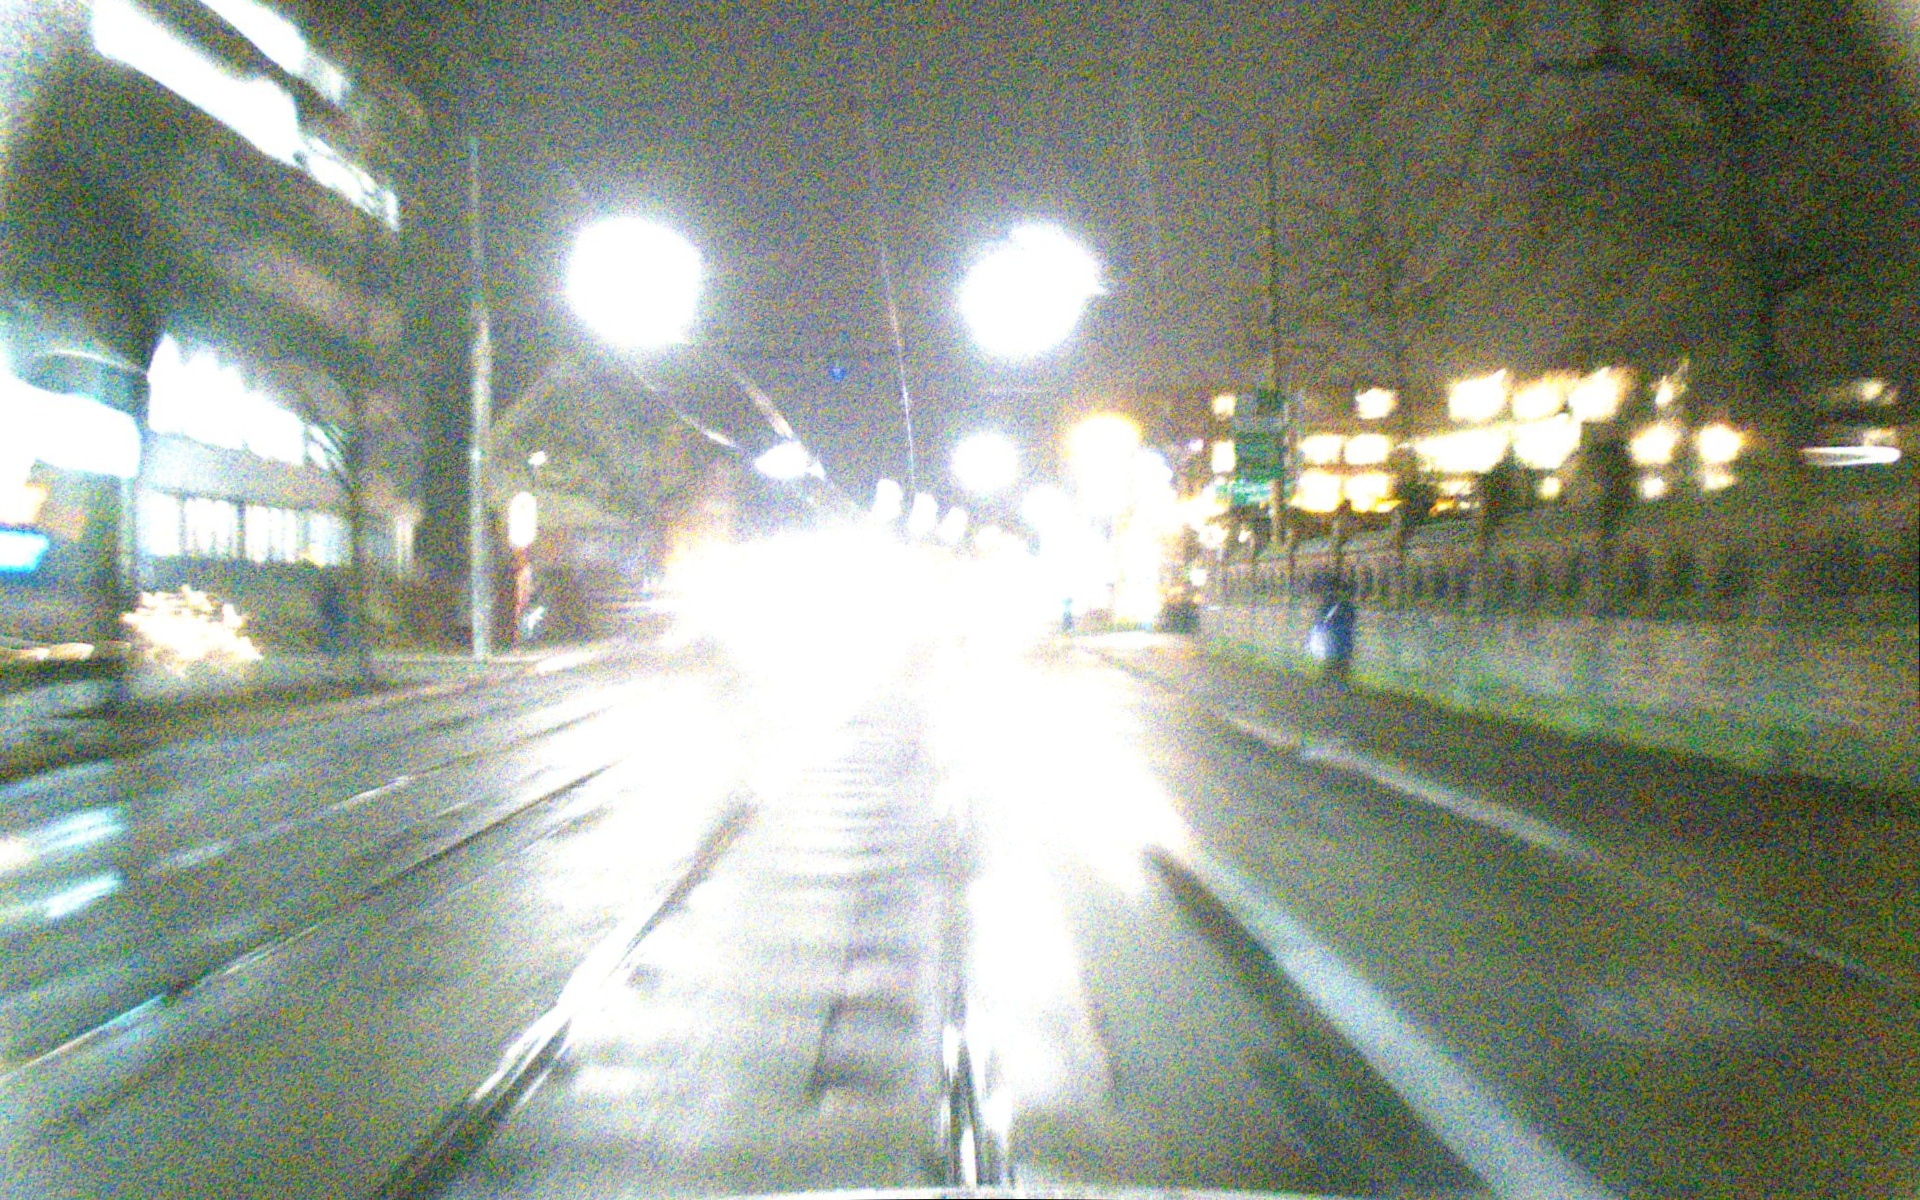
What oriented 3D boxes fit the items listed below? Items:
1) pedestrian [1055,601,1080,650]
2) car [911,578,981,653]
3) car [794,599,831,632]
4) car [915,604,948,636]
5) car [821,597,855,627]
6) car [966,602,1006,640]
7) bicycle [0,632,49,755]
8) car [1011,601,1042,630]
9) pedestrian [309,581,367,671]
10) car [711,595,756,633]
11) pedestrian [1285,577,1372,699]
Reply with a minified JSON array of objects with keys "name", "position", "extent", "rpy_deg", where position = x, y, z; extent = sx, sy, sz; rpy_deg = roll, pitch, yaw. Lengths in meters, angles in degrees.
[{"name":"pedestrian","position":[3.949,0.932,60.835],"extent":[0.761,1.807,0.694],"rpy_deg":[1,-1,16]},{"name":"car","position":[-0.518,0.522,55.621],"extent":[2.199,2.402,4.392],"rpy_deg":[1,0,-2]},{"name":"car","position":[-8.095,0.852,91.102],"extent":[1.954,1.755,4.072],"rpy_deg":[1,0,-4]},{"name":"car","position":[-1.749,1.208,100.528],"extent":[1.953,1.847,3.998],"rpy_deg":[1,0,-2]},{"name":"car","position":[-8.340,0.841,113.245],"extent":[2.274,1.966,4.959],"rpy_deg":[1,0,-4]},{"name":"car","position":[1.360,1.074,85.530],"extent":[1.974,1.847,4.000],"rpy_deg":[1,0,1]},{"name":"bicycle","position":[-9.522,0.845,15.300],"extent":[1.816,1.096,0.627],"rpy_deg":[1,-1,-1]},{"name":"car","position":[4.810,1.123,119.546],"extent":[1.953,2.049,3.999],"rpy_deg":[1,0,-1]},{"name":"pedestrian","position":[-12.167,0.501,32.358],"extent":[0.770,1.716,0.882],"rpy_deg":[1,-1,-1]},{"name":"car","position":[-12.680,0.778,92.876],"extent":[1.953,2.049,4.000],"rpy_deg":[1,0,0]},{"name":"pedestrian","position":[5.298,0.529,23.842],"extent":[0.921,1.693,0.993],"rpy_deg":[-2,0,-5]}]
